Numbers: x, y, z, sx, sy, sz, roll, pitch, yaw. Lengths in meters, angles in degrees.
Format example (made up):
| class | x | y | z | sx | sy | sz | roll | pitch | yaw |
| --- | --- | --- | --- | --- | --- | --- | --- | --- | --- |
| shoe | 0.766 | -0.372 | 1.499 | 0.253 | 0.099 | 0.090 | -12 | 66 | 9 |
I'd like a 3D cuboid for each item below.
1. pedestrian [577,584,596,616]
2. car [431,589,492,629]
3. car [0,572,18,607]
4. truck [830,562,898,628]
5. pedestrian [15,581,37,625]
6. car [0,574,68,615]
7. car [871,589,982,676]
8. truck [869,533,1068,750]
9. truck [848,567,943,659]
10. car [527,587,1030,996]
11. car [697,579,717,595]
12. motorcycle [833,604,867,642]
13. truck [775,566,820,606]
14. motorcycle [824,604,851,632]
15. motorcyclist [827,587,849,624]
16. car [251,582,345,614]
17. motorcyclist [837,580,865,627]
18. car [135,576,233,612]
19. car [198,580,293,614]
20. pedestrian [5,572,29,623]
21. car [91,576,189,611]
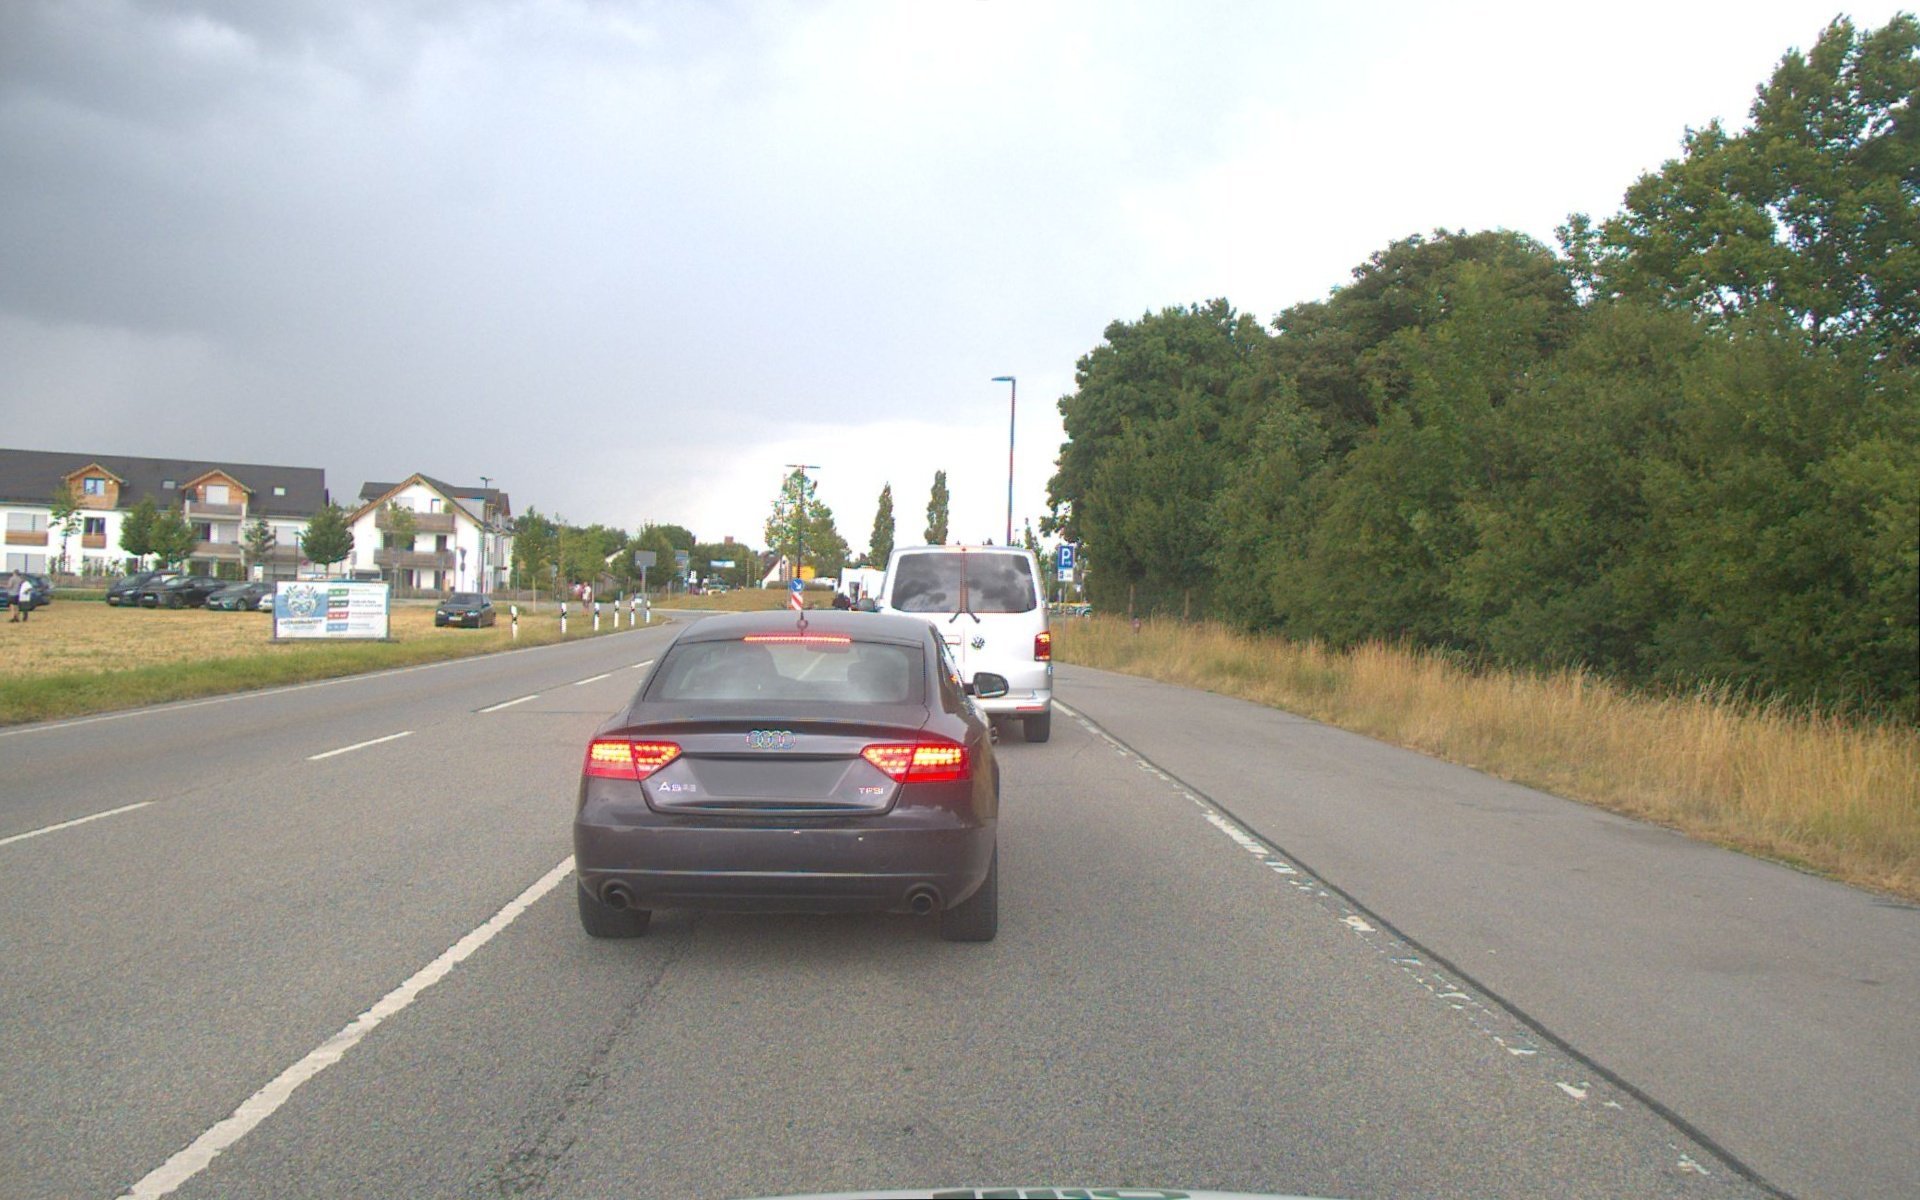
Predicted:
| class | x | y | z | sx | sy | sz | roll | pitch | yaw |
| --- | --- | --- | --- | --- | --- | --- | --- | --- | --- |
| pedestrian | -18.882 | -0.009 | 83.558 | 0.652 | 1.613 | 0.692 | 2 | 0 | -42 |
| car | -20.158 | 0.334 | 66.998 | 1.958 | 1.467 | 3.989 | 2 | 1 | -12 |
| car | -50.470 | -0.580 | 83.722 | 4.560 | 1.727 | 1.987 | 1 | 0 | -22 |
| truck | -4.422 | -0.238 | 75.117 | 2.577 | 2.785 | 5.857 | 2 | 0 | -8 |
| pedestrian | -34.361 | 0.103 | 60.848 | 0.581 | 1.582 | 0.622 | 1 | 0 | -20 |
| car | -41.826 | -0.260 | 72.403 | 4.649 | 1.727 | 1.987 | 1 | 0 | -22 |
| car | -0.655 | 0.576 | 31.528 | 1.953 | 1.511 | 3.999 | 1 | 0 | -2 |
| truck | 0.051 | 0.388 | 18.183 | 1.865 | 2.033 | 4.627 | 1 | 0 | -1 |
| truck | -1.526 | 0.303 | 40.622 | 2.149 | 2.049 | 5.084 | 1 | 0 | -1 |
| car | -0.657 | 0.705 | 8.212 | 1.836 | 1.479 | 4.177 | 1 | 0 | 0 |
| car | -28.091 | -1.404 | 183.871 | 1.955 | 1.670 | 3.996 | 2 | 0 | -5 |
| motorcycle | -3.331 | 0.683 | 50.335 | 0.901 | 1.113 | 2.188 | 2 | 0 | -2 |
| truck | -15.988 | -1.378 | 161.657 | 3.511 | 3.640 | 9.933 | 2 | 0 | -10 |
| motorcycle | -4.723 | 0.685 | 63.786 | 0.925 | 1.037 | 2.283 | 2 | 0 | -2 |
| motorcyclist | -4.699 | 0.218 | 63.675 | 0.770 | 1.380 | 0.853 | 2 | 0 | -3 |
| car | -31.754 | -0.075 | 79.500 | 1.951 | 1.471 | 4.214 | 1 | 0 | 17 |
| motorcyclist | -3.308 | 0.105 | 50.240 | 0.756 | 1.407 | 0.820 | 2 | 0 | -1 |
| car | -37.574 | -0.281 | 80.232 | 1.951 | 1.657 | 4.214 | 1 | 0 | 17 |
| car | -34.458 | -0.122 | 79.889 | 1.951 | 1.562 | 4.214 | 1 | 0 | 17 |
| pedestrian | -34.251 | -0.085 | 60.050 | 0.539 | 1.817 | 0.676 | 1 | 0 | -13 |
| car | -40.728 | -0.299 | 82.255 | 1.951 | 1.657 | 4.214 | 1 | 0 | 17 |
